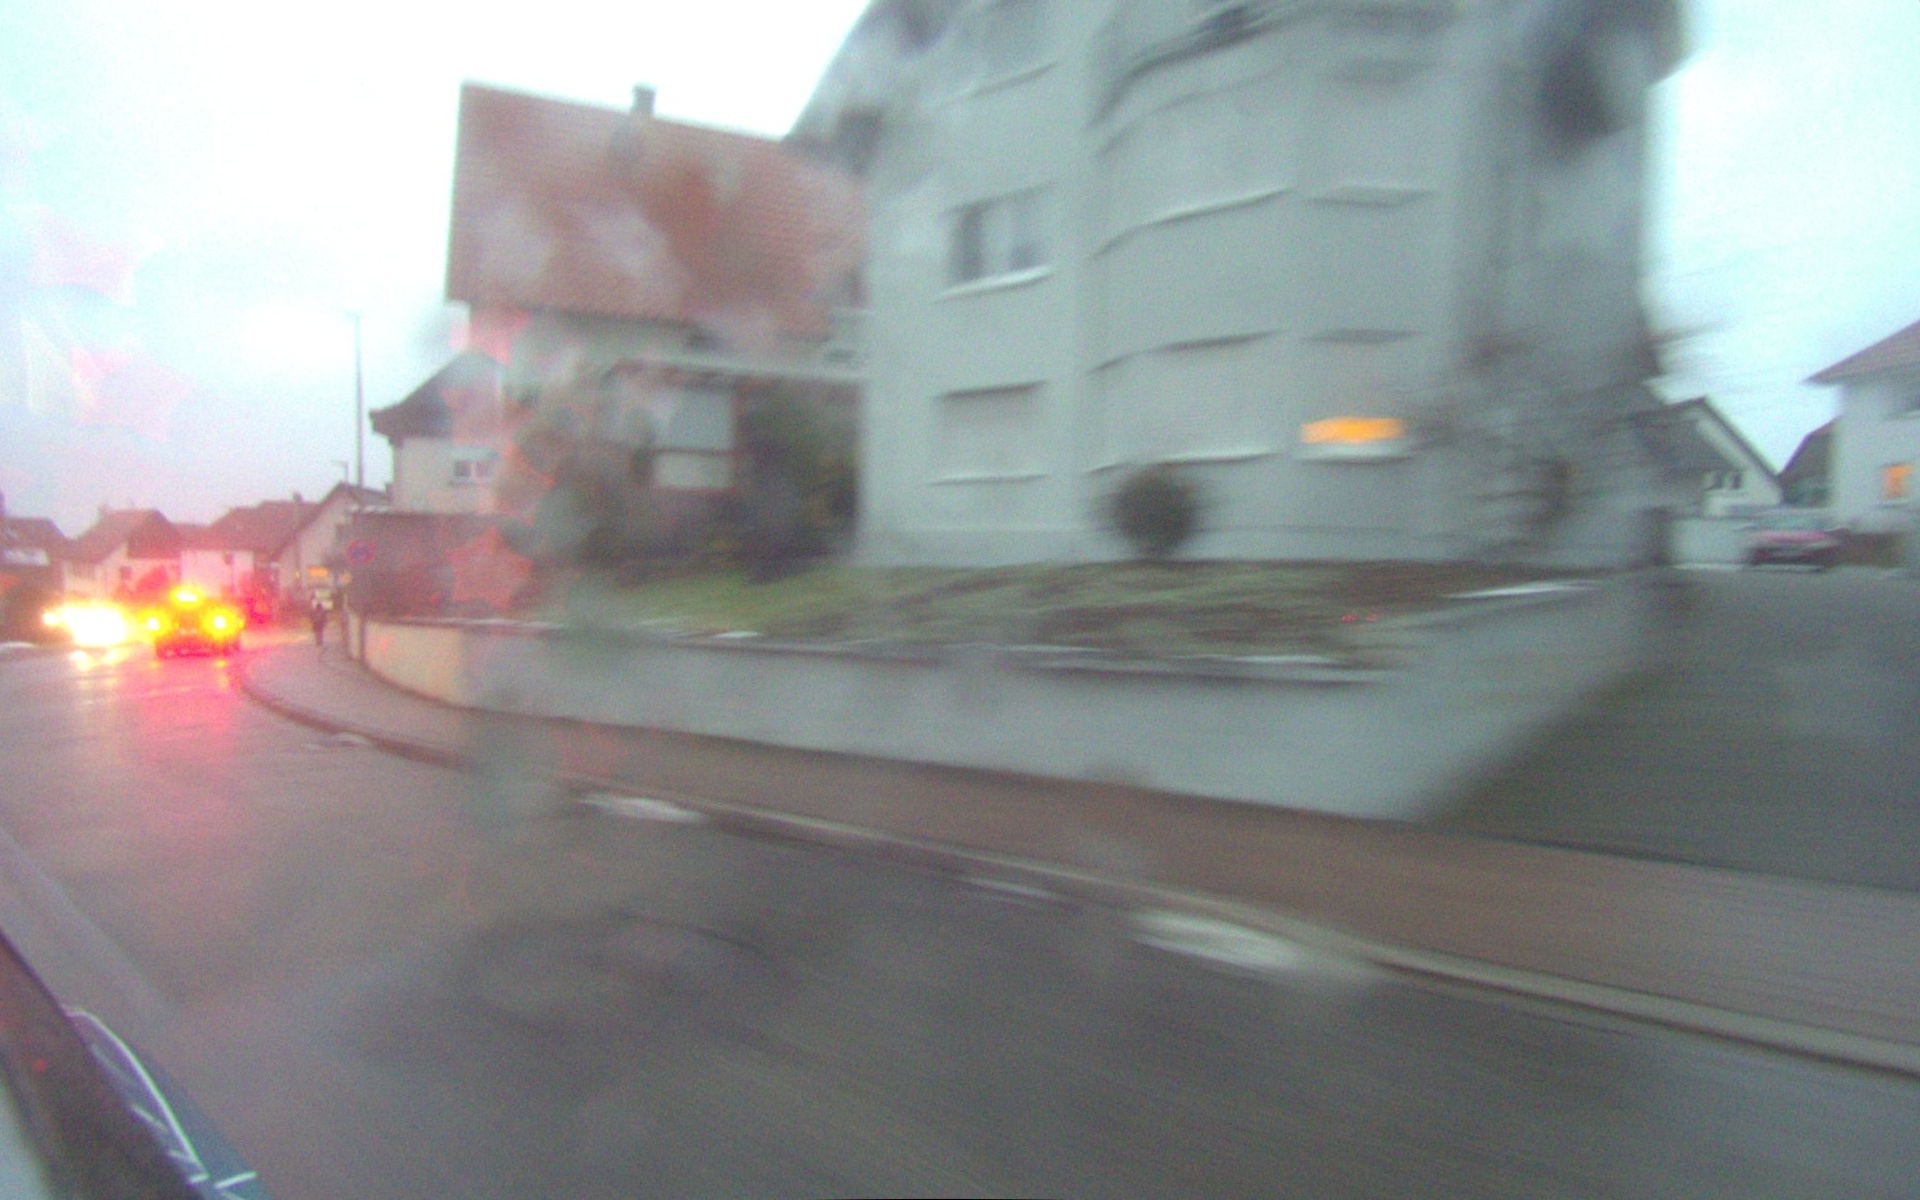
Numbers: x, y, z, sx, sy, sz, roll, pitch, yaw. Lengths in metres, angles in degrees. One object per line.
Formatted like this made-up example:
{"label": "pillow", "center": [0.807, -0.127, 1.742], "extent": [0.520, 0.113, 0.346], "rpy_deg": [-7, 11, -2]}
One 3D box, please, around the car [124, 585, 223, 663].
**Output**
{"label": "car", "center": [-22.622, 0.630, 29.263], "extent": [2.082, 2.042, 4.994], "rpy_deg": [0, 0, -36]}

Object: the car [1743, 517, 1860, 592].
{"label": "car", "center": [18.460, -1.032, 22.348], "extent": [1.700, 1.506, 3.952], "rpy_deg": [1, 4, 36]}

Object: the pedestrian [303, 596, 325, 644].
{"label": "pedestrian", "center": [-24.047, 0.729, 37.683], "extent": [0.589, 1.745, 0.815], "rpy_deg": [-2, 2, -29]}
